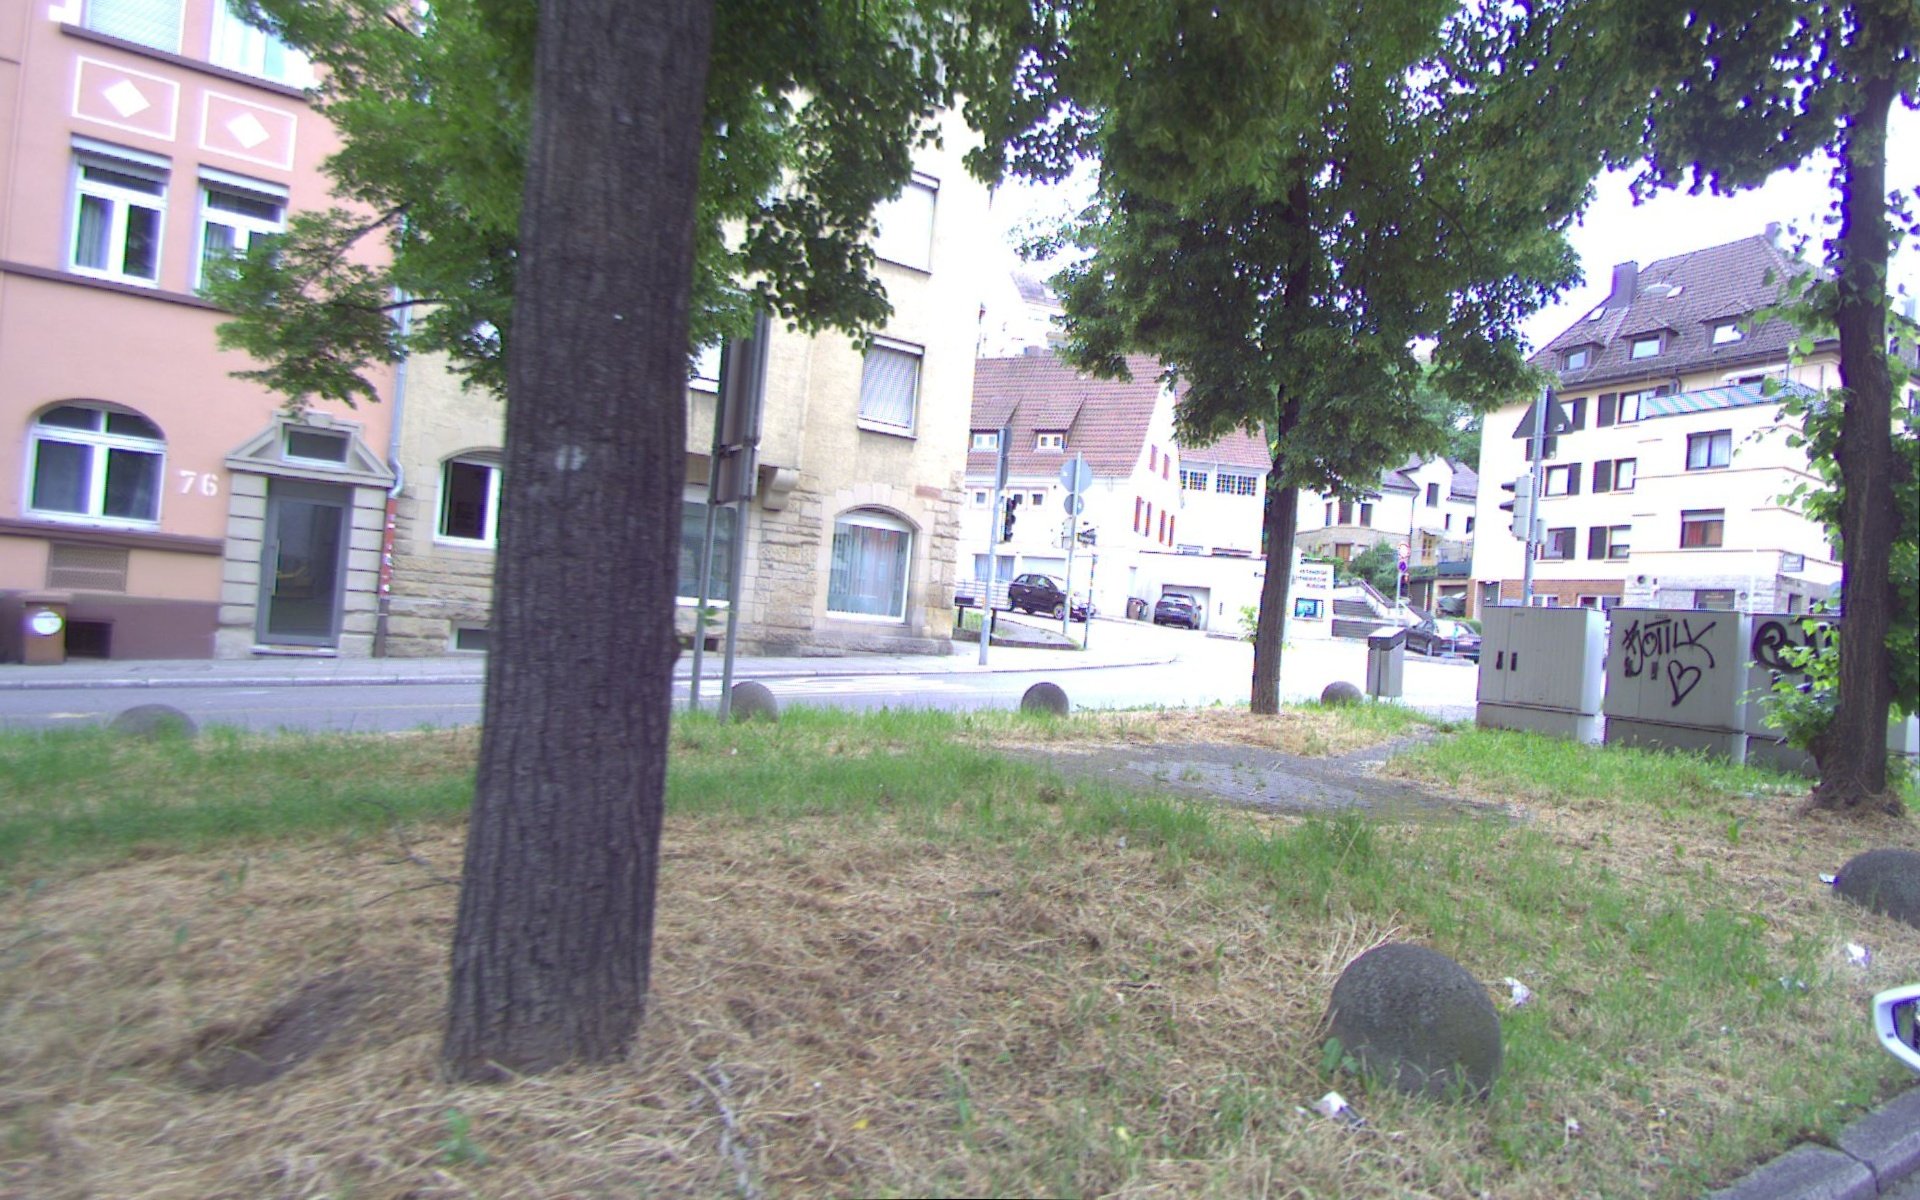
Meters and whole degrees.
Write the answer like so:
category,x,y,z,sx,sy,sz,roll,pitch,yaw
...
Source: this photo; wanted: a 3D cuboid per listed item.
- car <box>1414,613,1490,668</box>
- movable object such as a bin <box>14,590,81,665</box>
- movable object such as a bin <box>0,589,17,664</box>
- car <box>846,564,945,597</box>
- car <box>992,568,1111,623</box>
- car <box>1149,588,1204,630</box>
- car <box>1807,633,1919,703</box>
category,x,y,z,sx,sy,sz,roll,pitch,yaw
car,19.203,1.540,39.358,1.832,1.618,3.519,3,6,13
movable object such as a bin,-11.805,0.349,13.014,0.510,0.934,0.752,2,0,-34
movable object such as a bin,-12.360,0.324,12.671,0.554,0.934,0.649,2,0,-34
car,-2.856,-0.853,44.139,4.060,1.296,1.645,2,0,29
car,3.193,-0.168,35.180,3.652,1.461,1.756,8,3,34
car,9.249,0.360,43.120,1.639,1.423,3.057,7,3,2
car,22.579,1.677,24.461,3.774,1.499,1.613,4,-1,-27
